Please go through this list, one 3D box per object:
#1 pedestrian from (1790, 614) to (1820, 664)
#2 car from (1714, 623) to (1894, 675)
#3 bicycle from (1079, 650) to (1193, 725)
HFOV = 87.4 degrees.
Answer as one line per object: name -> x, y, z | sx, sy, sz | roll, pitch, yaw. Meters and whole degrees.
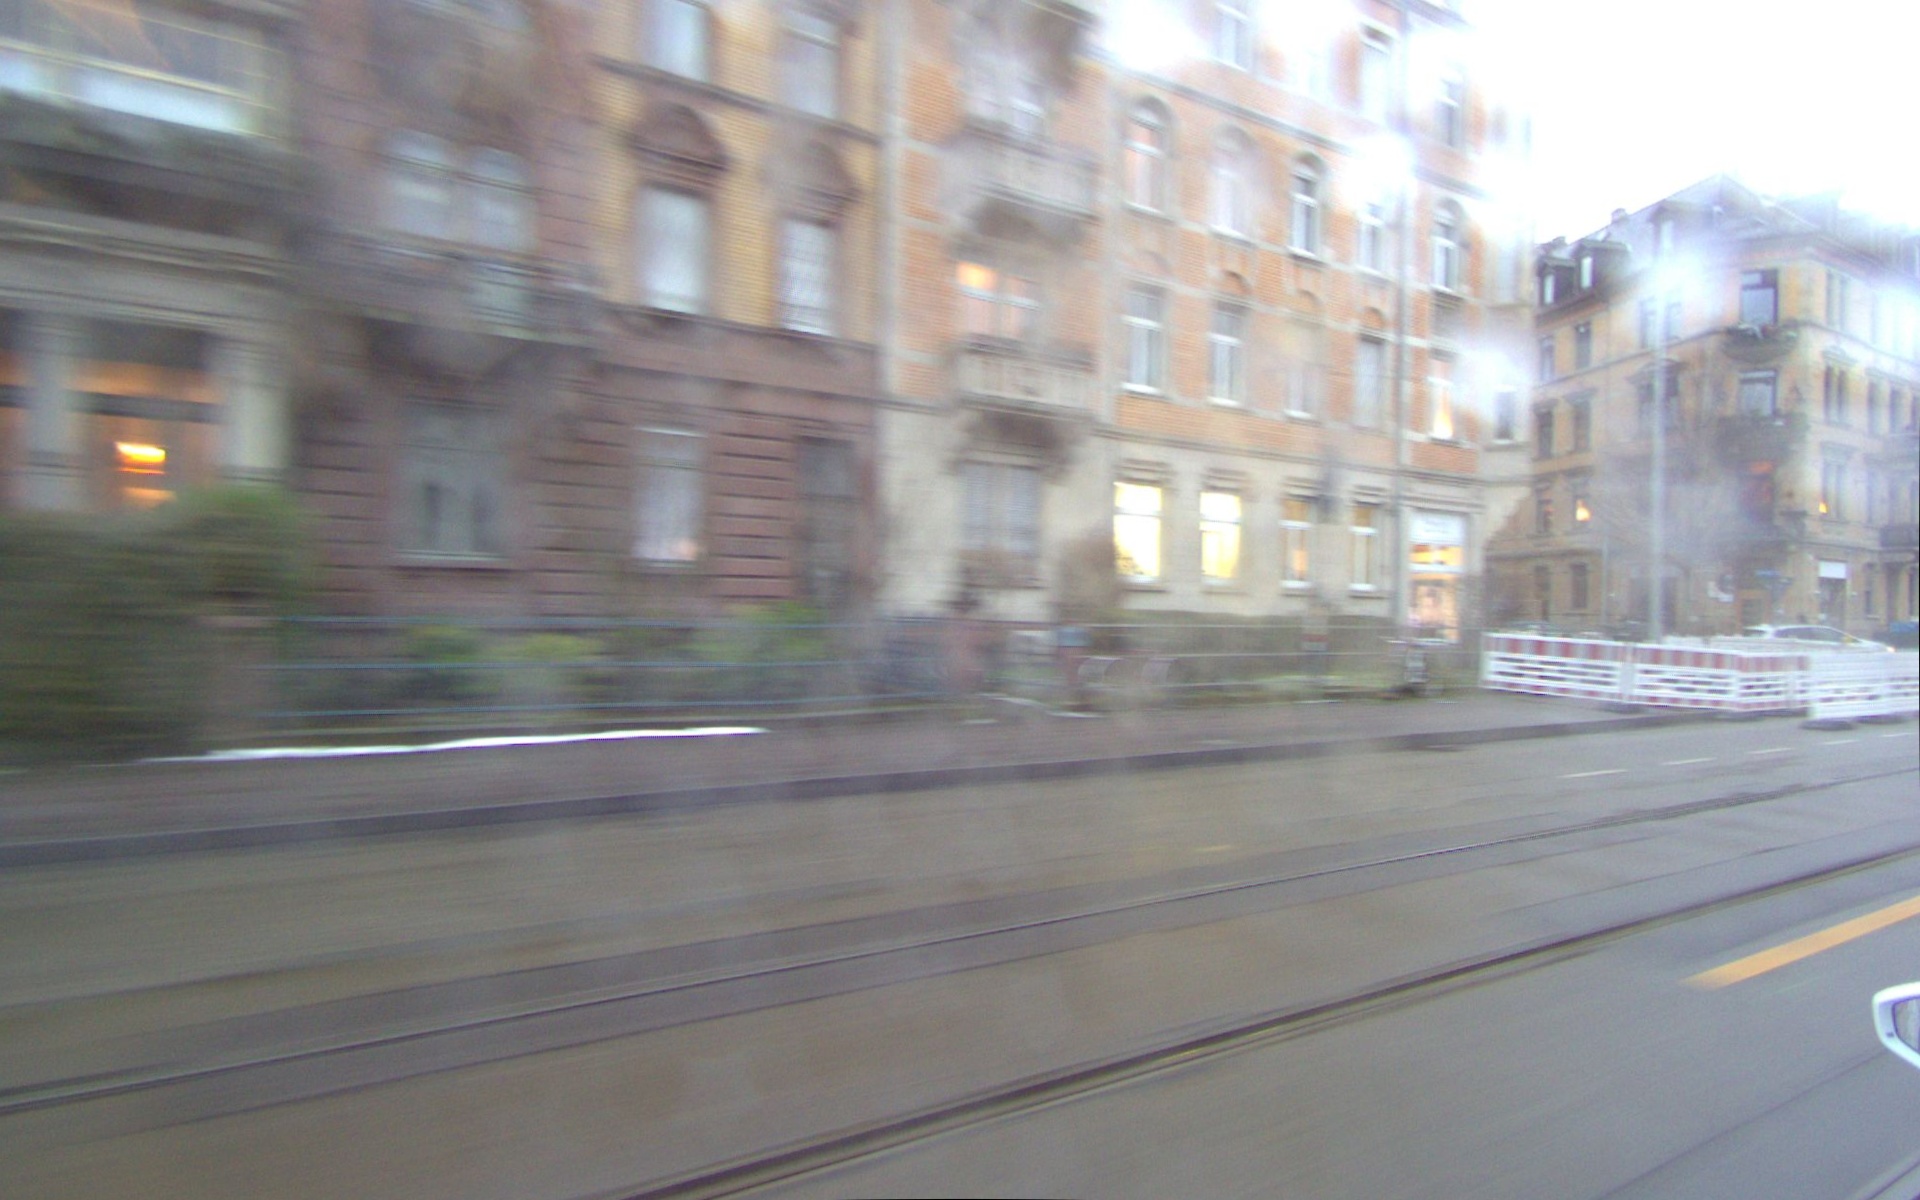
pedestrian -> 30.778, 1.414, 36.603 | 0.708, 1.797, 0.769 | 1, 0, 31
car -> 27.873, 1.590, 33.332 | 4.089, 1.546, 2.001 | 1, 0, 17
bicycle -> 2.371, 1.156, 13.461 | 1.666, 0.928, 0.262 | 1, 5, -31
